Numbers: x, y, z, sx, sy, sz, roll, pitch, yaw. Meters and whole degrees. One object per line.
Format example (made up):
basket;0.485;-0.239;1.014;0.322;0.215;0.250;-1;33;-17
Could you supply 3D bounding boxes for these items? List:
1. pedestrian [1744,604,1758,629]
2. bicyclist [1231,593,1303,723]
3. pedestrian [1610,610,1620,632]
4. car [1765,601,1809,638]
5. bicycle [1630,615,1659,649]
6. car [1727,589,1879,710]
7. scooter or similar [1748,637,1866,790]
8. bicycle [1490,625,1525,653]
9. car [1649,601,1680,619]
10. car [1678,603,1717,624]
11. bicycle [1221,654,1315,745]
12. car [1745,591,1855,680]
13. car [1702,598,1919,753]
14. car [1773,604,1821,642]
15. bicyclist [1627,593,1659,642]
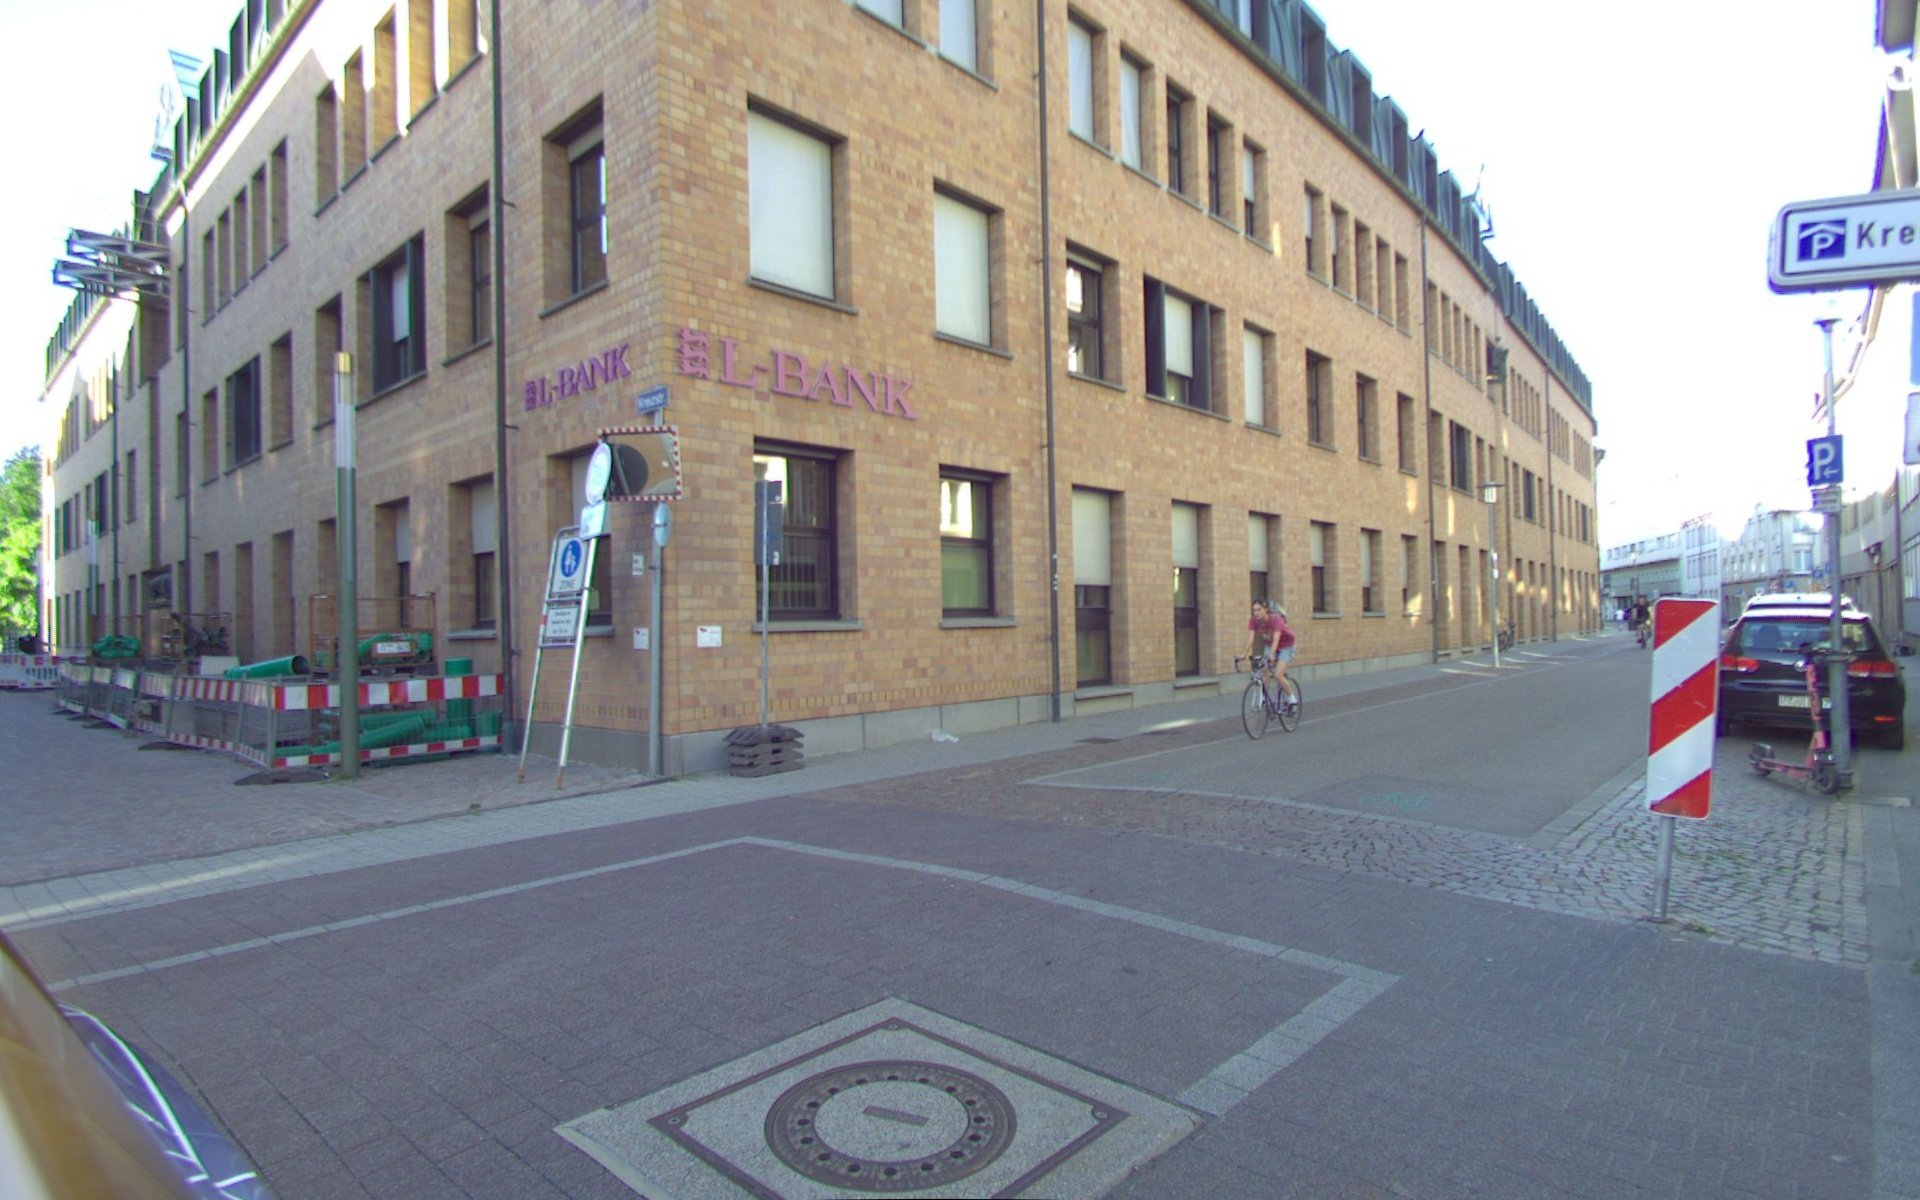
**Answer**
pedestrian;48.017;0.978;61.442;0.570;1.490;0.468;-2;-2;34
bicyclist;3.696;0.686;12.161;0.428;1.509;0.863;-5;-4;42
pedestrian;45.119;1.439;69.737;0.543;1.556;0.399;-1;-1;40
car;42.271;0.982;51.770;1.692;1.789;3.608;0;0;39
bicycle;23.800;1.122;35.200;0.703;1.112;1.807;-6;-4;33
car;13.378;0.689;16.061;1.673;1.674;4.025;0;0;41
scooter or similar;7.070;0.916;8.481;0.205;1.193;0.882;-1;-2;1
bicycle;18.786;1.332;34.692;0.642;0.888;2.524;-1;-1;38
car;68.000;0.990;97.693;1.926;1.663;3.801;-1;-1;27
car;60.603;1.118;83.238;1.926;1.663;3.801;-2;-1;27
bicycle;3.730;1.168;12.191;0.436;0.964;1.569;-3;-2;42
car;17.985;0.699;21.643;1.673;1.717;3.958;0;0;41
car;10.007;0.741;11.924;1.740;1.497;3.759;0;1;41
car;39.012;1.040;47.212;1.692;1.692;3.461;0;0;39
bicyclist;23.764;0.616;35.223;0.771;1.668;0.946;-5;-4;33
